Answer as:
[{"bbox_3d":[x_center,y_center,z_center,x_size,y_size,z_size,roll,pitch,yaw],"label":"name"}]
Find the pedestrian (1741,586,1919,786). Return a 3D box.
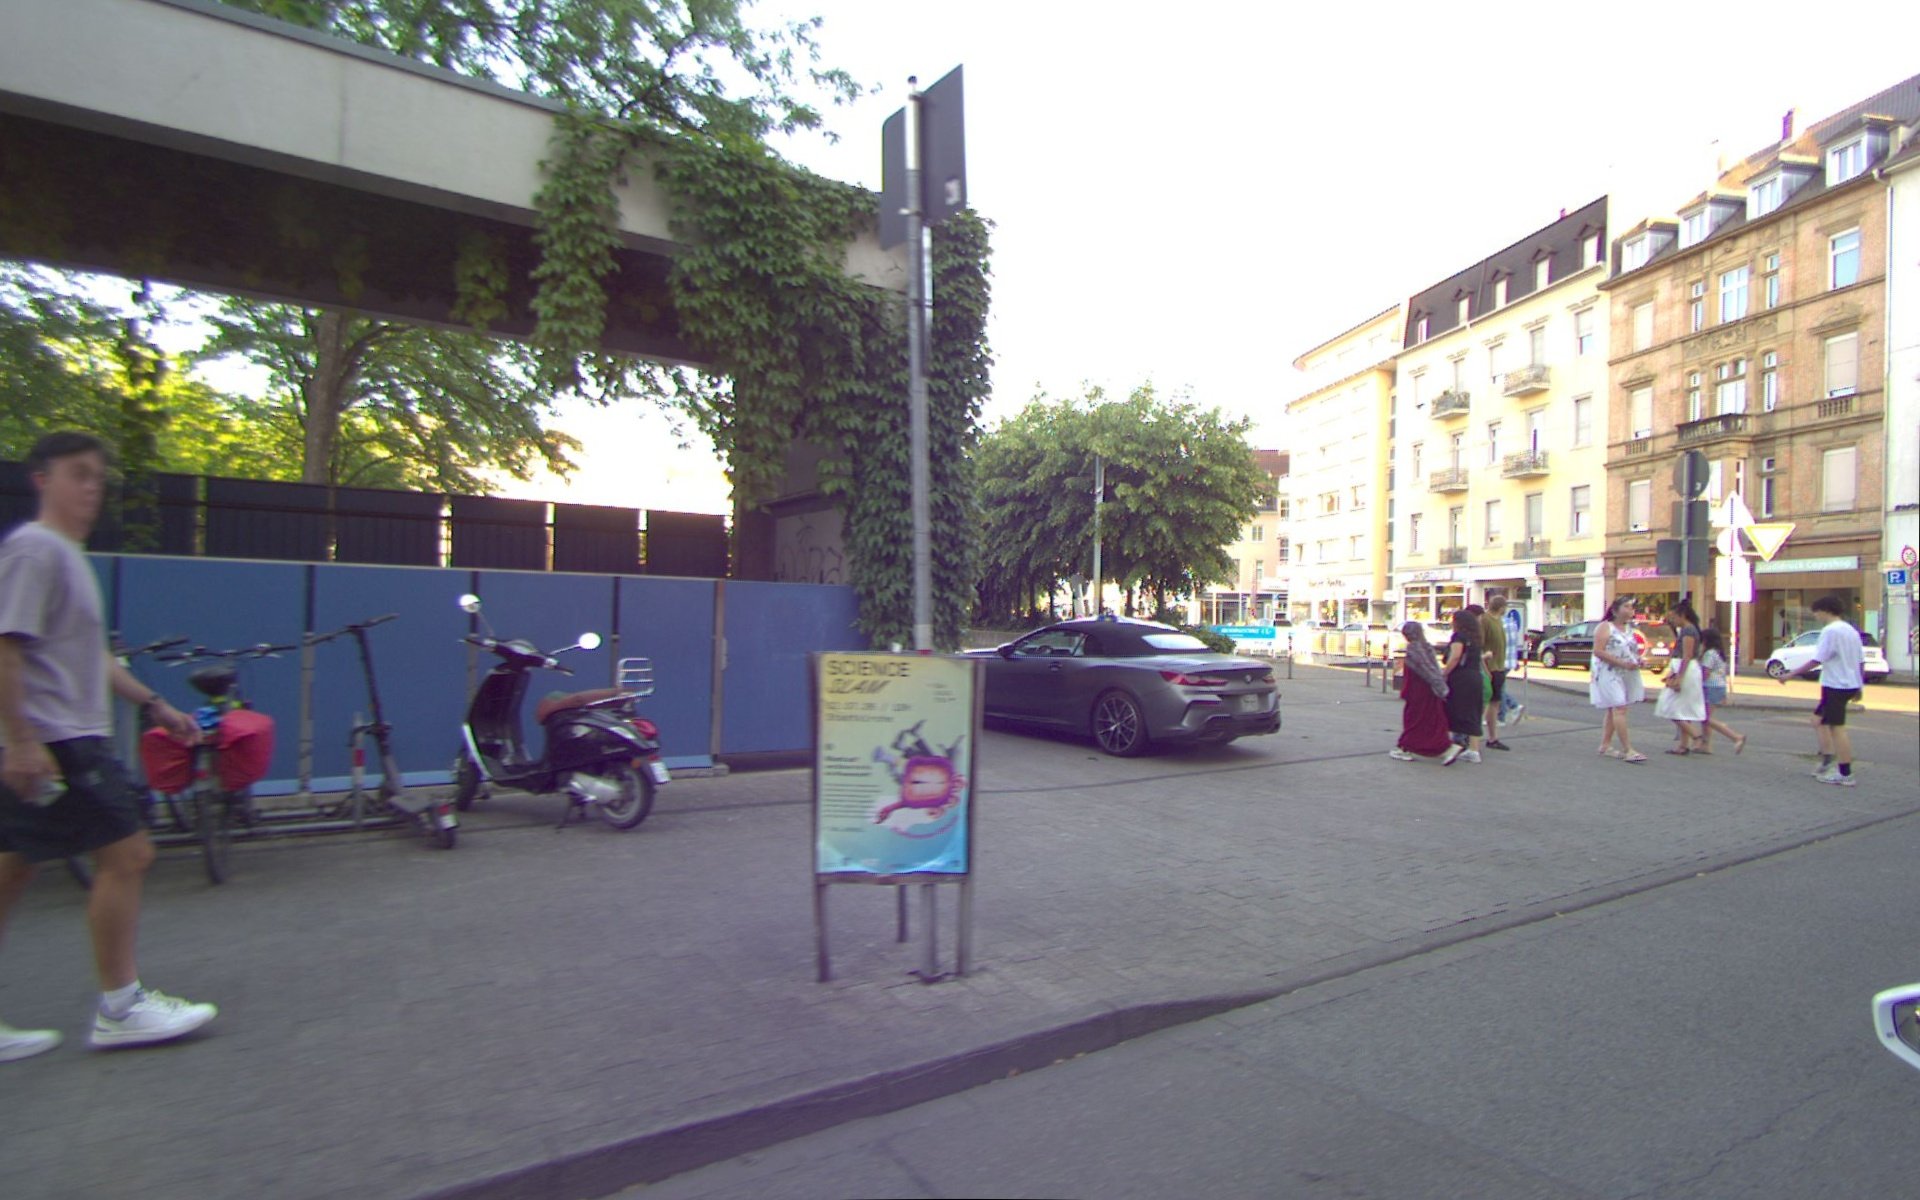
[{"bbox_3d":[8.655,0.816,10.042,0.965,1.878,0.890,2,1,8],"label":"pedestrian"}]

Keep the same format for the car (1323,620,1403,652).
[{"bbox_3d":[22.409,1.975,56.114,1.985,1.564,4.862,2,0,-8],"label":"car"}]

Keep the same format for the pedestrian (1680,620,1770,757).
[{"bbox_3d":[8.894,1.005,11.703,0.703,1.506,0.603,2,1,28],"label":"pedestrian"}]

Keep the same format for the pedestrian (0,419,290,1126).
[{"bbox_3d":[-2.719,0.463,3.192,0.880,1.909,0.977,1,1,-30],"label":"pedestrian"}]

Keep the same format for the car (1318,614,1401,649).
[{"bbox_3d":[20.090,1.561,50.661,1.784,1.538,4.224,2,0,-13],"label":"car"}]

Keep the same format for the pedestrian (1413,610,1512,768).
[{"bbox_3d":[5.411,0.928,10.859,0.783,1.603,0.731,2,1,16],"label":"pedestrian"}]

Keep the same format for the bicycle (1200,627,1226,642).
[{"bbox_3d":[19.716,2.703,78.261,1.857,1.127,0.760,2,-1,-12],"label":"bicycle"}]

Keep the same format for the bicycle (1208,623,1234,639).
[{"bbox_3d":[19.862,2.350,76.505,1.857,1.127,0.600,2,-1,-11],"label":"bicycle"}]

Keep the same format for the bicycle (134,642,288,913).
[{"bbox_3d":[-3.817,0.811,5.164,0.542,1.102,1.482,1,1,-35],"label":"bicycle"}]

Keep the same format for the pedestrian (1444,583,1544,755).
[{"bbox_3d":[6.215,0.776,11.728,0.835,1.902,0.715,2,1,16],"label":"pedestrian"}]

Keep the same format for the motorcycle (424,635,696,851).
[{"bbox_3d":[-2.567,0.839,6.390,1.795,1.142,0.536,2,1,27],"label":"motorcycle"}]

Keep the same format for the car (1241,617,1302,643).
[{"bbox_3d":[20.997,1.970,67.836,1.964,1.634,4.795,2,-1,-10],"label":"car"}]

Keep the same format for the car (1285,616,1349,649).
[{"bbox_3d":[21.859,1.975,61.663,1.840,1.786,4.401,2,0,-9],"label":"car"}]

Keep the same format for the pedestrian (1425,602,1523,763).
[{"bbox_3d":[5.722,0.881,11.177,0.705,1.691,0.877,2,1,44],"label":"pedestrian"}]

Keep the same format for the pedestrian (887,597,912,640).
[{"bbox_3d":[-2.916,0.891,48.197,0.896,2.040,0.919,2,-1,14],"label":"pedestrian"}]

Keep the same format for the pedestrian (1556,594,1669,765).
[{"bbox_3d":[7.348,0.861,11.348,0.865,1.827,0.714,2,1,19],"label":"pedestrian"}]

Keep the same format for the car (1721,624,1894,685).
[{"bbox_3d":[26.248,1.634,31.295,1.674,1.606,3.994,1,1,-8],"label":"car"}]

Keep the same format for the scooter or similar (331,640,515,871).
[{"bbox_3d":[-3.133,0.828,5.802,1.475,1.102,0.409,2,1,40],"label":"scooter or similar"}]

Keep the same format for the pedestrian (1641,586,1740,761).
[{"bbox_3d":[8.330,0.810,11.489,0.767,1.900,0.713,2,1,28],"label":"pedestrian"}]

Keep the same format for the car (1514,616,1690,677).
[{"bbox_3d":[20.339,1.415,32.110,2.062,1.675,4.604,0,1,-14],"label":"car"}]

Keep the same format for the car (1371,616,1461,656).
[{"bbox_3d":[22.870,1.775,50.620,1.854,1.768,4.652,2,0,-8],"label":"car"}]

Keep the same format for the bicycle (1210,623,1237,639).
[{"bbox_3d":[19.945,2.375,76.053,1.857,1.127,0.520,2,-1,-12],"label":"bicycle"}]

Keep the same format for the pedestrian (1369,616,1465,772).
[{"bbox_3d":[4.832,0.969,10.634,0.586,1.563,0.674,1,1,-33],"label":"pedestrian"}]

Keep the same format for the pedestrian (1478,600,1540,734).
[{"bbox_3d":[7.562,0.895,13.859,0.675,1.769,0.715,2,1,28],"label":"pedestrian"}]

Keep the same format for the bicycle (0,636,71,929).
[{"bbox_3d":[-4.498,0.770,4.643,0.407,1.126,1.482,1,1,-35],"label":"bicycle"}]

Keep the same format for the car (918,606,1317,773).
[{"bbox_3d":[1.642,0.875,11.852,2.088,1.450,4.400,1,1,-38],"label":"car"}]

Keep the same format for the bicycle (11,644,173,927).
[{"bbox_3d":[-4.174,0.802,4.897,0.438,1.084,1.482,1,1,-35],"label":"bicycle"}]

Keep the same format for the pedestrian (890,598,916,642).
[{"bbox_3d":[-2.677,0.937,47.433,0.896,2.040,0.919,2,-1,14],"label":"pedestrian"}]

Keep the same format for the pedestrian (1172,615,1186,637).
[{"bbox_3d":[18.184,2.141,83.270,0.784,1.743,0.809,2,-1,-15],"label":"pedestrian"}]

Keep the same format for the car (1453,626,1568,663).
[{"bbox_3d":[24.390,1.943,44.755,1.963,1.453,4.843,2,-1,-8],"label":"car"}]
